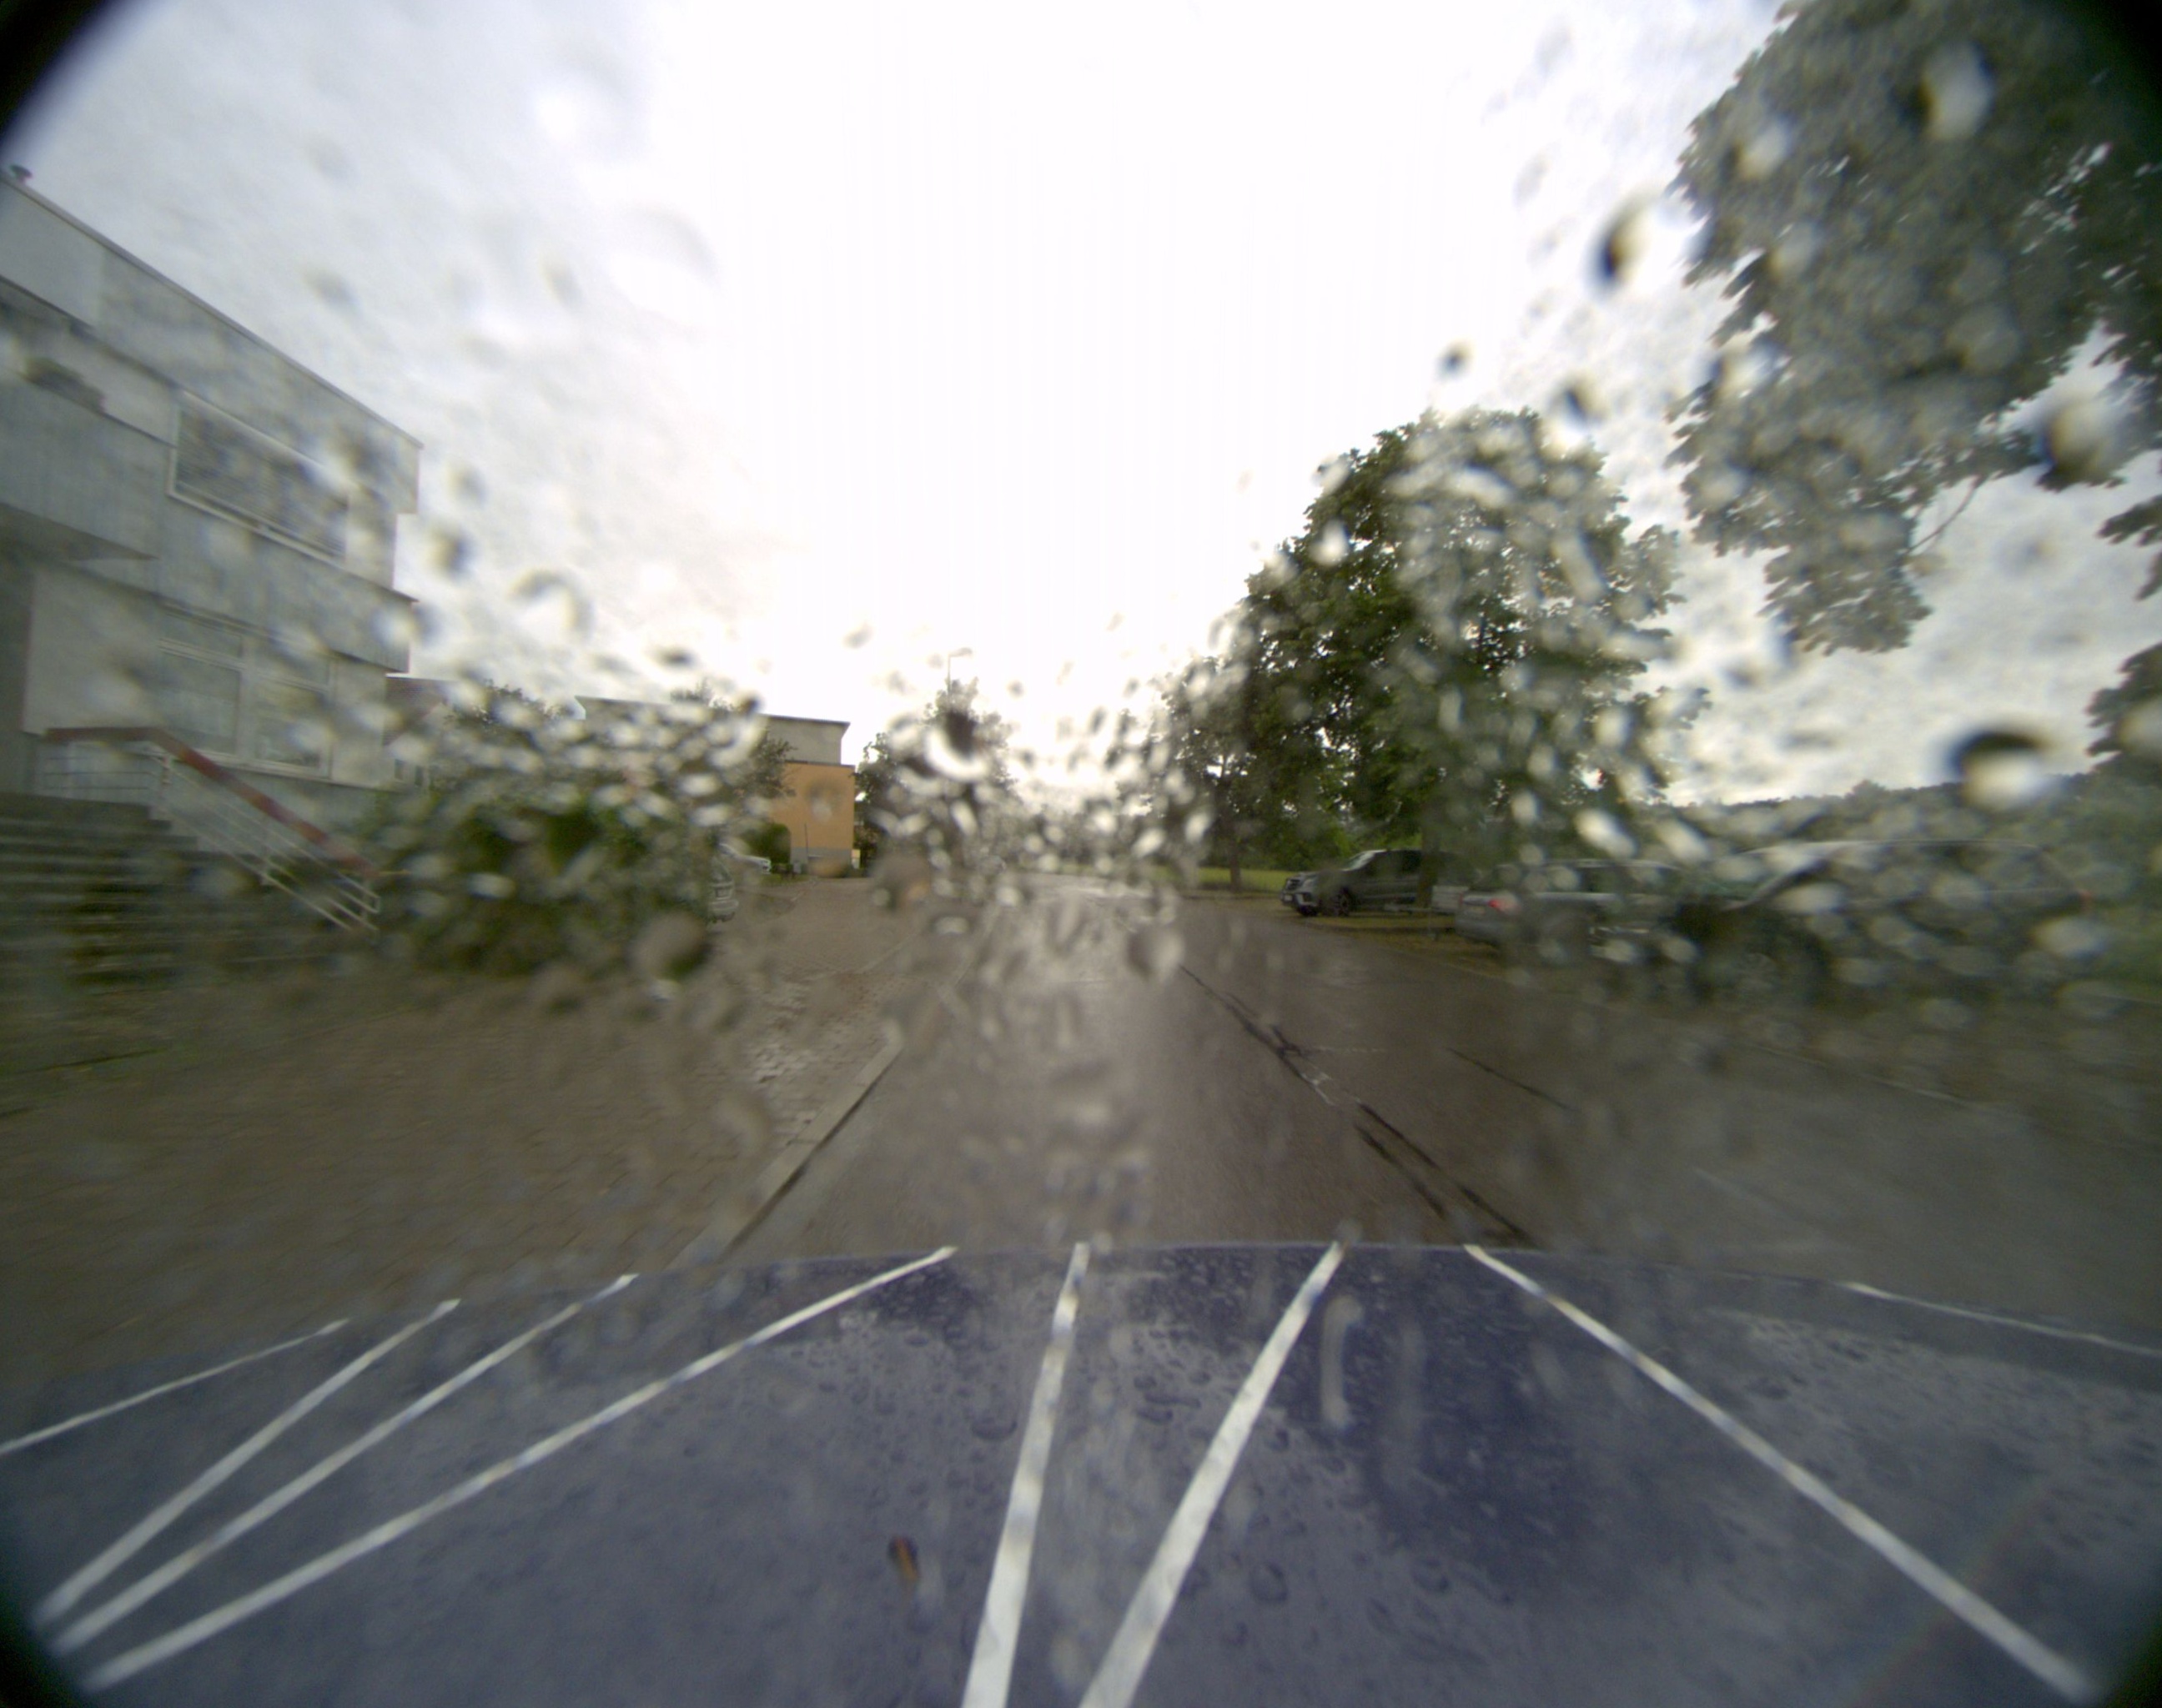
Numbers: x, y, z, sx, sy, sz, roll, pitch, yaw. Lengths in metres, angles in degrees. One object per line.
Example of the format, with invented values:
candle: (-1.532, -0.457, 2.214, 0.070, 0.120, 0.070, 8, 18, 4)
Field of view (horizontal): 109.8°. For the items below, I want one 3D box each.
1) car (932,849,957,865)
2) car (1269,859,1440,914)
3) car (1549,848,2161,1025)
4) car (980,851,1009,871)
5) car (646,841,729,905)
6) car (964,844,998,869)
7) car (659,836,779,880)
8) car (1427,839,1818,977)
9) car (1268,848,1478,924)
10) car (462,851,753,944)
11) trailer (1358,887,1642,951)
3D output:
car: (-15.772, 0.335, 87.563, 1.828, 1.775, 3.810, 1, 2, -26)
car: (7.683, 0.875, 21.539, 4.226, 1.423, 1.772, 0, 1, -7)
car: (7.865, 0.778, 8.088, 4.629, 1.580, 1.806, -1, 1, 1)
car: (-7.777, 0.612, 67.962, 1.818, 1.717, 4.644, 1, 1, -17)
car: (-12.032, 0.506, 23.089, 1.862, 1.576, 4.313, 0, 3, -32)
car: (-9.757, 0.213, 73.637, 2.057, 2.317, 5.397, 1, 0, -22)
car: (-16.469, 0.179, 34.807, 4.719, 1.804, 1.943, 2, 0, -19)
car: (7.407, 0.689, 10.785, 4.083, 1.712, 2.025, -1, 1, 2)
car: (7.093, 0.741, 18.802, 4.380, 1.712, 2.044, 1, 1, -3)
car: (-8.770, 0.763, 14.349, 4.323, 1.575, 1.858, 1, 1, 0)
trailer: (7.234, 1.103, 13.444, 3.951, 0.955, 2.000, 0, 0, -1)
